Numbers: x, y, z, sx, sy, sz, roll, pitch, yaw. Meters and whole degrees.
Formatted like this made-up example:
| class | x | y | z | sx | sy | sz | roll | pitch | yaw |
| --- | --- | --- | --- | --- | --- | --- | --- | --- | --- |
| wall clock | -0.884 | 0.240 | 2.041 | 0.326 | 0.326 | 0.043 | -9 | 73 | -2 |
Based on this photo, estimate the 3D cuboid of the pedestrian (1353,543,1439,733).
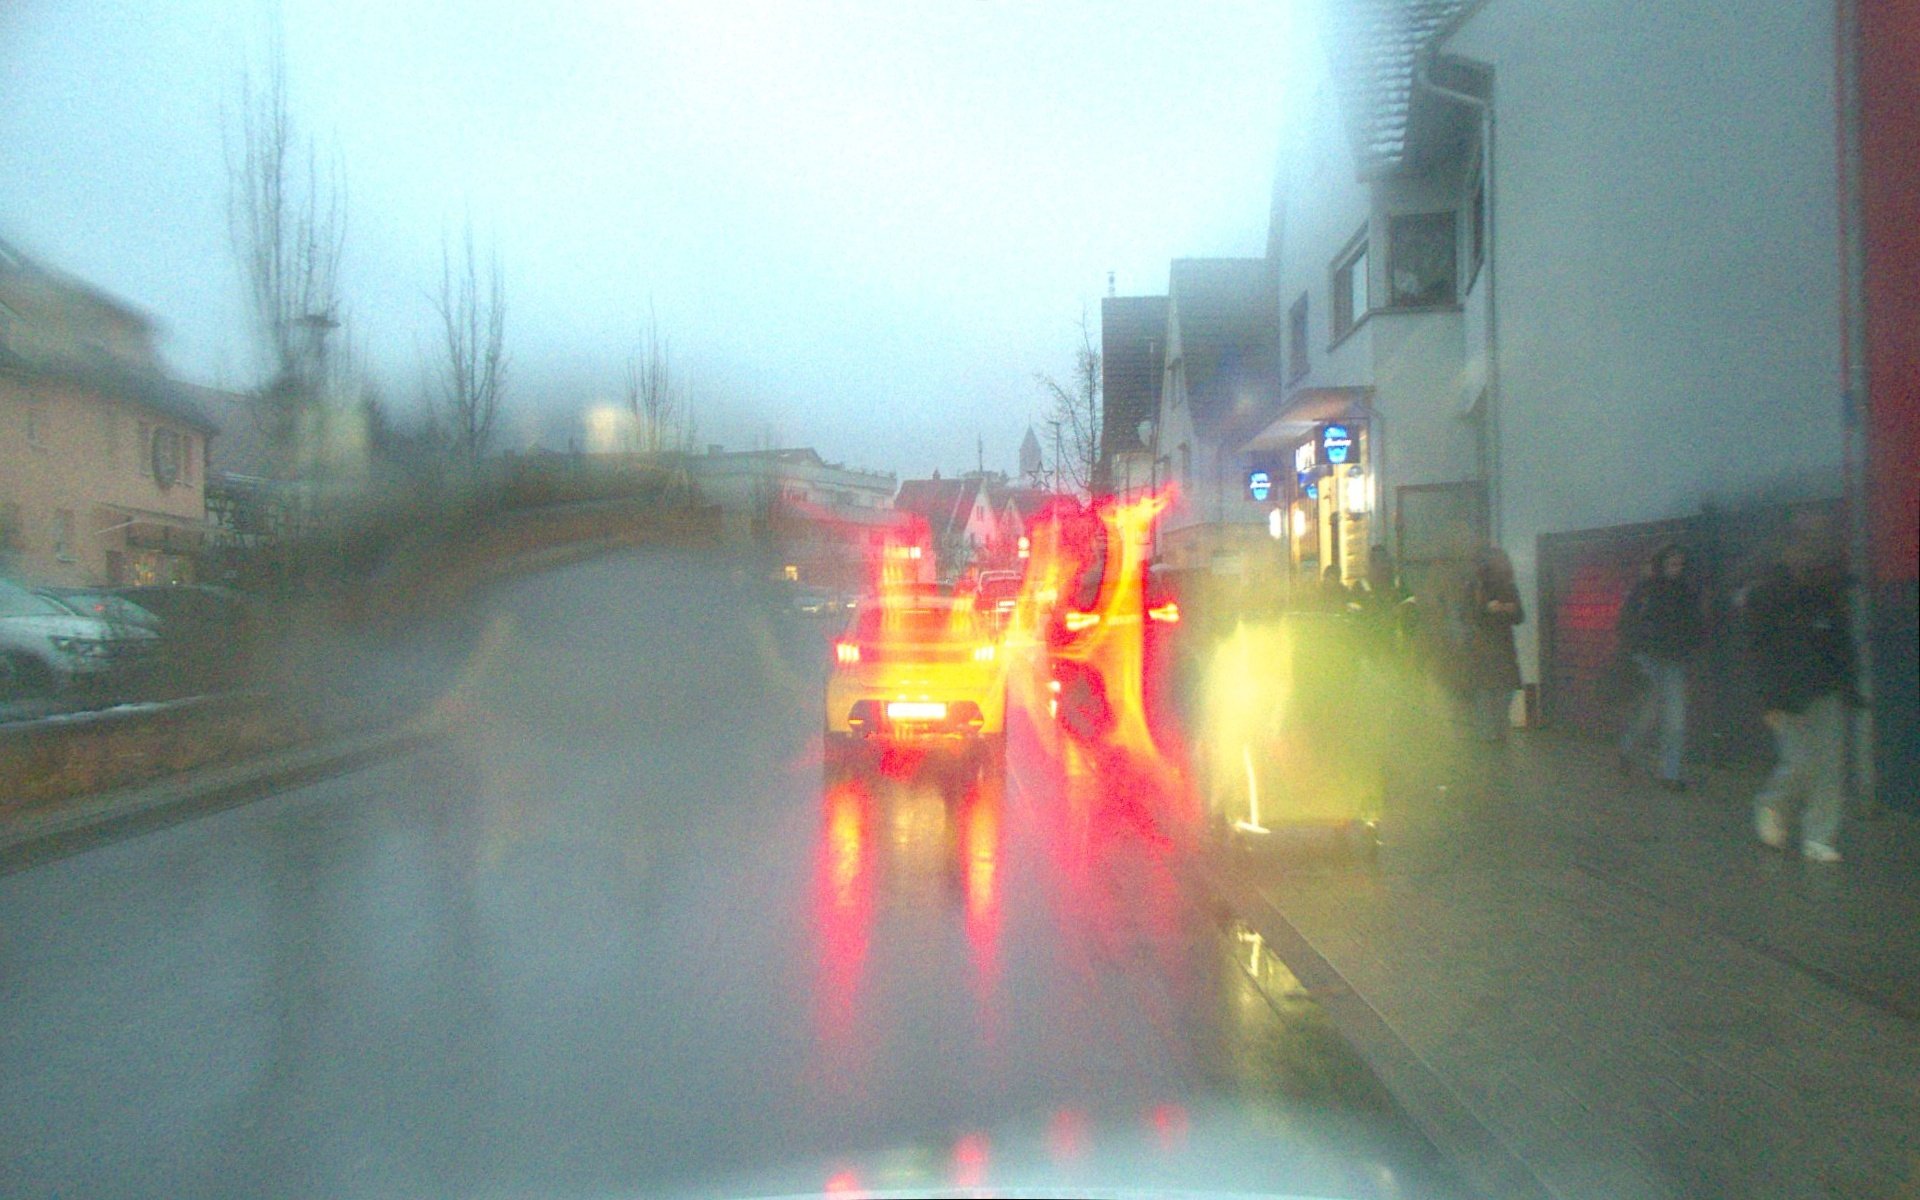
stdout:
| class | x | y | z | sx | sy | sz | roll | pitch | yaw |
| --- | --- | --- | --- | --- | --- | --- | --- | --- | --- |
| pedestrian | 4.158 | 0.344 | 15.826 | 0.697 | 1.745 | 1.035 | -2 | 1 | 12 |

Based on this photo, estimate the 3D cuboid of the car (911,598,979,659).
| class | x | y | z | sx | sy | sz | roll | pitch | yaw |
| --- | --- | --- | --- | --- | --- | --- | --- | --- | --- |
| car | -0.376 | 0.651 | 39.187 | 1.510 | 1.355 | 3.310 | 1 | 0 | -1 |

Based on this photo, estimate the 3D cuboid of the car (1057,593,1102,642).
| class | x | y | z | sx | sy | sz | roll | pitch | yaw |
| --- | --- | --- | --- | --- | --- | --- | --- | --- | --- |
| car | 5.935 | 0.907 | 82.566 | 1.952 | 2.288 | 3.999 | 1 | -2 | 0 |

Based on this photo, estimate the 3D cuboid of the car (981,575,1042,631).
| class | x | y | z | sx | sy | sz | roll | pitch | yaw |
| --- | --- | --- | --- | --- | --- | --- | --- | --- | --- |
| car | 1.763 | 0.114 | 57.530 | 1.957 | 1.897 | 4.082 | 0 | 0 | -1 |

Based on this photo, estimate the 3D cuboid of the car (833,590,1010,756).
| class | x | y | z | sx | sy | sz | roll | pitch | yaw |
| --- | --- | --- | --- | --- | --- | --- | --- | --- | --- |
| car | -0.365 | 0.637 | 16.016 | 1.531 | 1.437 | 3.017 | 1 | 0 | -1 |

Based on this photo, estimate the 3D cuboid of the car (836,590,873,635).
| class | x | y | z | sx | sy | sz | roll | pitch | yaw |
| --- | --- | --- | --- | --- | --- | --- | --- | --- | --- |
| car | -5.605 | 0.714 | 88.255 | 1.881 | 2.254 | 3.972 | 1 | -2 | -3 |

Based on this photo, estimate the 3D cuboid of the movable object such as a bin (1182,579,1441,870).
| class | x | y | z | sx | sy | sz | roll | pitch | yaw |
| --- | --- | --- | --- | --- | --- | --- | --- | --- | --- |
| movable object such as a bin | 1.934 | 0.643 | 9.359 | 1.106 | 1.445 | 1.417 | -4 | 1 | 1 |

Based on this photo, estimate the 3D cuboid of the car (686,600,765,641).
| class | x | y | z | sx | sy | sz | roll | pitch | yaw |
| --- | --- | --- | --- | --- | --- | --- | --- | --- | --- |
| car | -11.993 | 1.048 | 84.319 | 4.096 | 2.011 | 1.811 | -1 | -3 | 43 |

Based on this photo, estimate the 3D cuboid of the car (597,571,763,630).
| class | x | y | z | sx | sy | sz | roll | pitch | yaw |
| --- | --- | --- | --- | --- | --- | --- | --- | --- | --- |
| car | -9.533 | 0.007 | 56.351 | 5.281 | 1.849 | 1.713 | 1 | 0 | 12 |

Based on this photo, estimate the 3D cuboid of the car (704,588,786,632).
| class | x | y | z | sx | sy | sz | roll | pitch | yaw |
| --- | --- | --- | --- | --- | --- | --- | --- | --- | --- |
| car | -11.353 | 0.554 | 87.074 | 4.309 | 2.204 | 1.987 | -1 | -3 | 43 |

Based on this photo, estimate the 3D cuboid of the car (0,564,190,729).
| class | x | y | z | sx | sy | sz | roll | pitch | yaw |
| --- | --- | --- | --- | --- | --- | --- | --- | --- | --- |
| car | -9.982 | 0.443 | 16.593 | 3.713 | 1.549 | 1.716 | 0 | -1 | 5 |

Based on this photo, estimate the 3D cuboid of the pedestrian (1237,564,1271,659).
| class | x | y | z | sx | sy | sz | roll | pitch | yaw |
| --- | --- | --- | --- | --- | --- | --- | --- | --- | --- |
| pedestrian | 5.500 | 0.212 | 30.899 | 0.605 | 1.757 | 0.502 | 0 | -2 | 11 |

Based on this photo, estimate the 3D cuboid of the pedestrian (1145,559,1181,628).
| class | x | y | z | sx | sy | sz | roll | pitch | yaw |
| --- | --- | --- | --- | --- | --- | --- | --- | --- | --- |
| pedestrian | 4.616 | -0.162 | 37.596 | 0.608 | 1.542 | 0.731 | -1 | 1 | -14 |

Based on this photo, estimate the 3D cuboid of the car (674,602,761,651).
| class | x | y | z | sx | sy | sz | roll | pitch | yaw |
| --- | --- | --- | --- | --- | --- | --- | --- | --- | --- |
| car | -11.939 | 1.326 | 81.437 | 4.309 | 2.291 | 1.987 | -1 | -3 | 43 |

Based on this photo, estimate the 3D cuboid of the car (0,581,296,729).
| class | x | y | z | sx | sy | sz | roll | pitch | yaw |
| --- | --- | --- | --- | --- | --- | --- | --- | --- | --- |
| car | -10.086 | 0.617 | 19.305 | 4.008 | 1.636 | 1.587 | 0 | -1 | 2 |

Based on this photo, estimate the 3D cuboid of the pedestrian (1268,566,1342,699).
| class | x | y | z | sx | sy | sz | roll | pitch | yaw |
| --- | --- | --- | --- | --- | --- | --- | --- | --- | --- |
| pedestrian | 4.434 | 0.398 | 21.306 | 0.608 | 1.655 | 0.903 | -1 | 1 | -14 |

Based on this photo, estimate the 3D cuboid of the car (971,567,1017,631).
| class | x | y | z | sx | sy | sz | roll | pitch | yaw |
| --- | --- | --- | --- | --- | --- | --- | --- | --- | --- |
| car | 1.395 | 0.015 | 70.019 | 1.832 | 2.512 | 4.443 | 1 | -2 | 0 |

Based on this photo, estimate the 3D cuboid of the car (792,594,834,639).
| class | x | y | z | sx | sy | sz | roll | pitch | yaw |
| --- | --- | --- | --- | --- | --- | --- | --- | --- | --- |
| car | -7.104 | 0.819 | 80.241 | 1.881 | 2.063 | 3.972 | 1 | -2 | -3 |

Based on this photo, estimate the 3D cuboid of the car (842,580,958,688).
| class | x | y | z | sx | sy | sz | roll | pitch | yaw |
| --- | --- | --- | --- | --- | --- | --- | --- | --- | --- |
| car | -0.940 | 0.519 | 27.649 | 1.730 | 1.657 | 3.586 | 1 | 0 | 1 |

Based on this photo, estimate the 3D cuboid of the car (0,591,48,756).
| class | x | y | z | sx | sy | sz | roll | pitch | yaw |
| --- | --- | --- | --- | --- | --- | --- | --- | --- | --- |
| car | -9.814 | 0.655 | 13.892 | 3.375 | 1.396 | 1.600 | -1 | 0 | -2 |

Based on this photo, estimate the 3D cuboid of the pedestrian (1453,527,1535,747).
| class | x | y | z | sx | sy | sz | roll | pitch | yaw |
| --- | --- | --- | --- | --- | --- | --- | --- | --- | --- |
| pedestrian | 4.576 | 0.300 | 14.209 | 0.517 | 1.832 | 0.865 | 0 | 0 | 9 |

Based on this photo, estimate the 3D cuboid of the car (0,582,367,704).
| class | x | y | z | sx | sy | sz | roll | pitch | yaw |
| --- | --- | --- | --- | --- | --- | --- | --- | --- | --- |
| car | -10.374 | 0.584 | 22.259 | 4.042 | 1.524 | 1.879 | 1 | -2 | 1 |

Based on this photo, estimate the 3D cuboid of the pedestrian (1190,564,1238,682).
| class | x | y | z | sx | sy | sz | roll | pitch | yaw |
| --- | --- | --- | --- | --- | --- | --- | --- | --- | --- |
| pedestrian | 3.822 | 0.345 | 24.934 | 0.561 | 1.729 | 0.653 | -2 | -1 | 0 |

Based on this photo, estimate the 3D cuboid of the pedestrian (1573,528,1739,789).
| class | x | y | z | sx | sy | sz | roll | pitch | yaw |
| --- | --- | --- | --- | --- | --- | --- | --- | --- | --- |
| pedestrian | 4.805 | 0.384 | 11.485 | 0.731 | 1.708 | 1.053 | -2 | 1 | 5 |

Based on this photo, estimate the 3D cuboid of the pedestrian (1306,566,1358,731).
| class | x | y | z | sx | sy | sz | roll | pitch | yaw |
| --- | --- | --- | --- | --- | --- | --- | --- | --- | --- |
| pedestrian | 3.872 | 0.485 | 17.236 | 0.469 | 1.659 | 1.020 | -2 | 1 | 12 |

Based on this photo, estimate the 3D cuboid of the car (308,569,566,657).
| class | x | y | z | sx | sy | sz | roll | pitch | yaw |
| --- | --- | --- | --- | --- | --- | --- | --- | --- | --- |
| car | -10.329 | 0.267 | 32.946 | 4.534 | 1.697 | 1.998 | 0 | -1 | -4 |

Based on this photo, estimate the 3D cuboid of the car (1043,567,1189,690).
| class | x | y | z | sx | sy | sz | roll | pitch | yaw |
| --- | --- | --- | --- | --- | --- | --- | --- | --- | --- |
| car | 2.330 | 0.406 | 25.673 | 1.700 | 1.722 | 4.384 | -1 | 0 | -2 |

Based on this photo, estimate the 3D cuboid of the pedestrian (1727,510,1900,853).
| class | x | y | z | sx | sy | sz | roll | pitch | yaw |
| --- | --- | --- | --- | --- | --- | --- | --- | --- | --- |
| pedestrian | 4.428 | 0.414 | 8.636 | 0.517 | 1.682 | 0.954 | 0 | -2 | 9 |
